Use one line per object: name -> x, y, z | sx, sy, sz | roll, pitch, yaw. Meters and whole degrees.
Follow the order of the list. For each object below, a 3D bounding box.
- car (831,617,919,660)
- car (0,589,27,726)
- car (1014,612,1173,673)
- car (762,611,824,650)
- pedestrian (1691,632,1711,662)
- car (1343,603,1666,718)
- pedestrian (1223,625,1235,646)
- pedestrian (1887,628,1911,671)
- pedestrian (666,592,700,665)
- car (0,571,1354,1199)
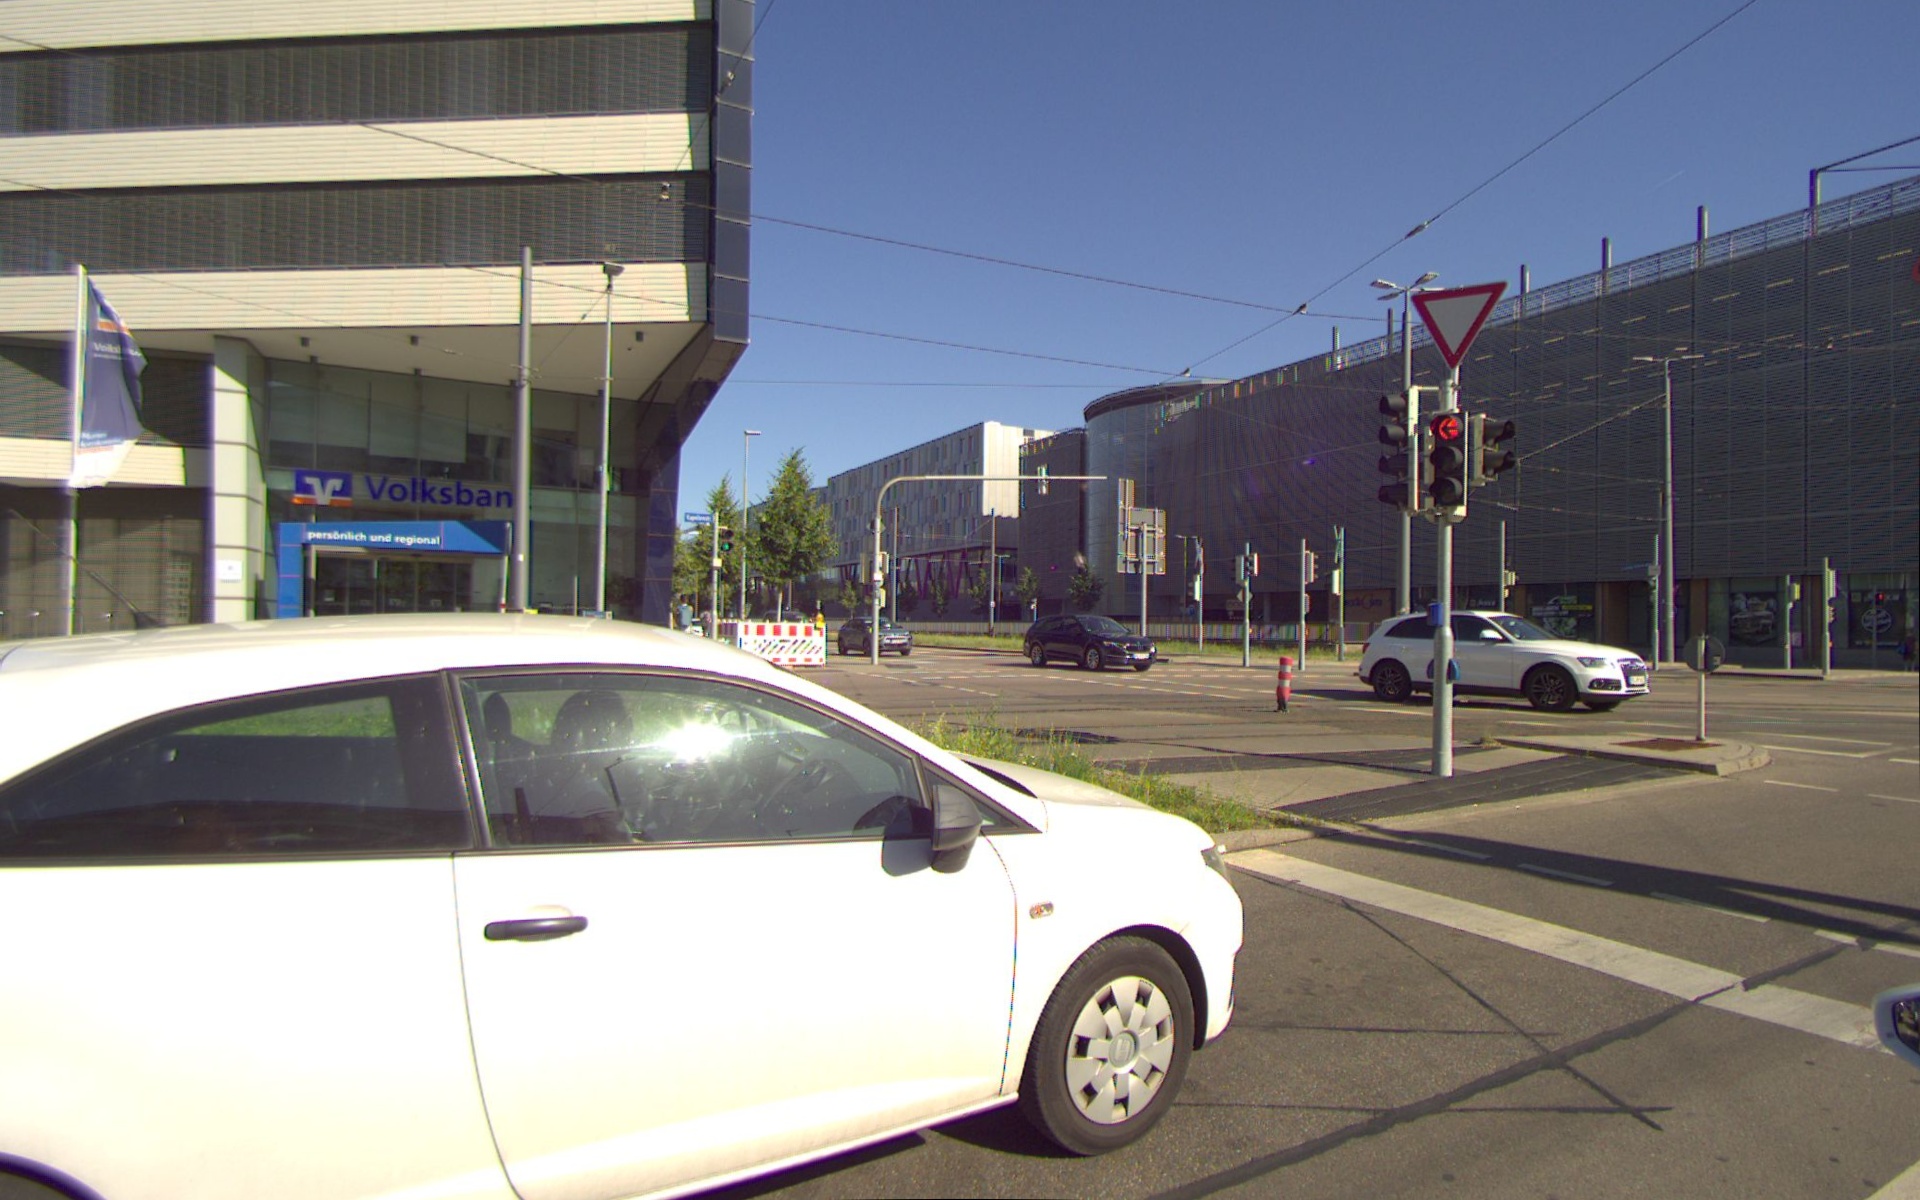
car -> -3.403, 1.471, 39.506 | 1.690, 1.534, 4.241 | 1, 0, -32
car -> -13.642, 0.664, 11.450 | 4.139, 1.668, 1.808 | 1, -1, -35
car -> 3.500, 1.108, 27.219 | 1.812, 1.481, 4.646 | 1, -2, -31
car -> -8.190, 1.463, 48.986 | 1.688, 1.815, 4.440 | 1, -1, -28
pedestrian -> 41.042, 2.579, 55.654 | 0.584, 1.622, 0.661 | 2, 0, -11
car -> 9.259, 0.963, 17.517 | 1.916, 1.729, 4.642 | 1, -2, -33
pedestrian -> 21.869, 2.881, 81.668 | 0.642, 1.622, 0.658 | 2, 0, -24
pedestrian -> 39.962, 2.113, 42.729 | 0.687, 1.821, 0.726 | -2, -3, 44
pedestrian -> -6.613, 0.684, 23.956 | 0.729, 1.719, 0.805 | 0, -2, -20
car -> -0.962, 0.734, 2.787 | 3.977, 1.460, 1.723 | 2, 1, -31
